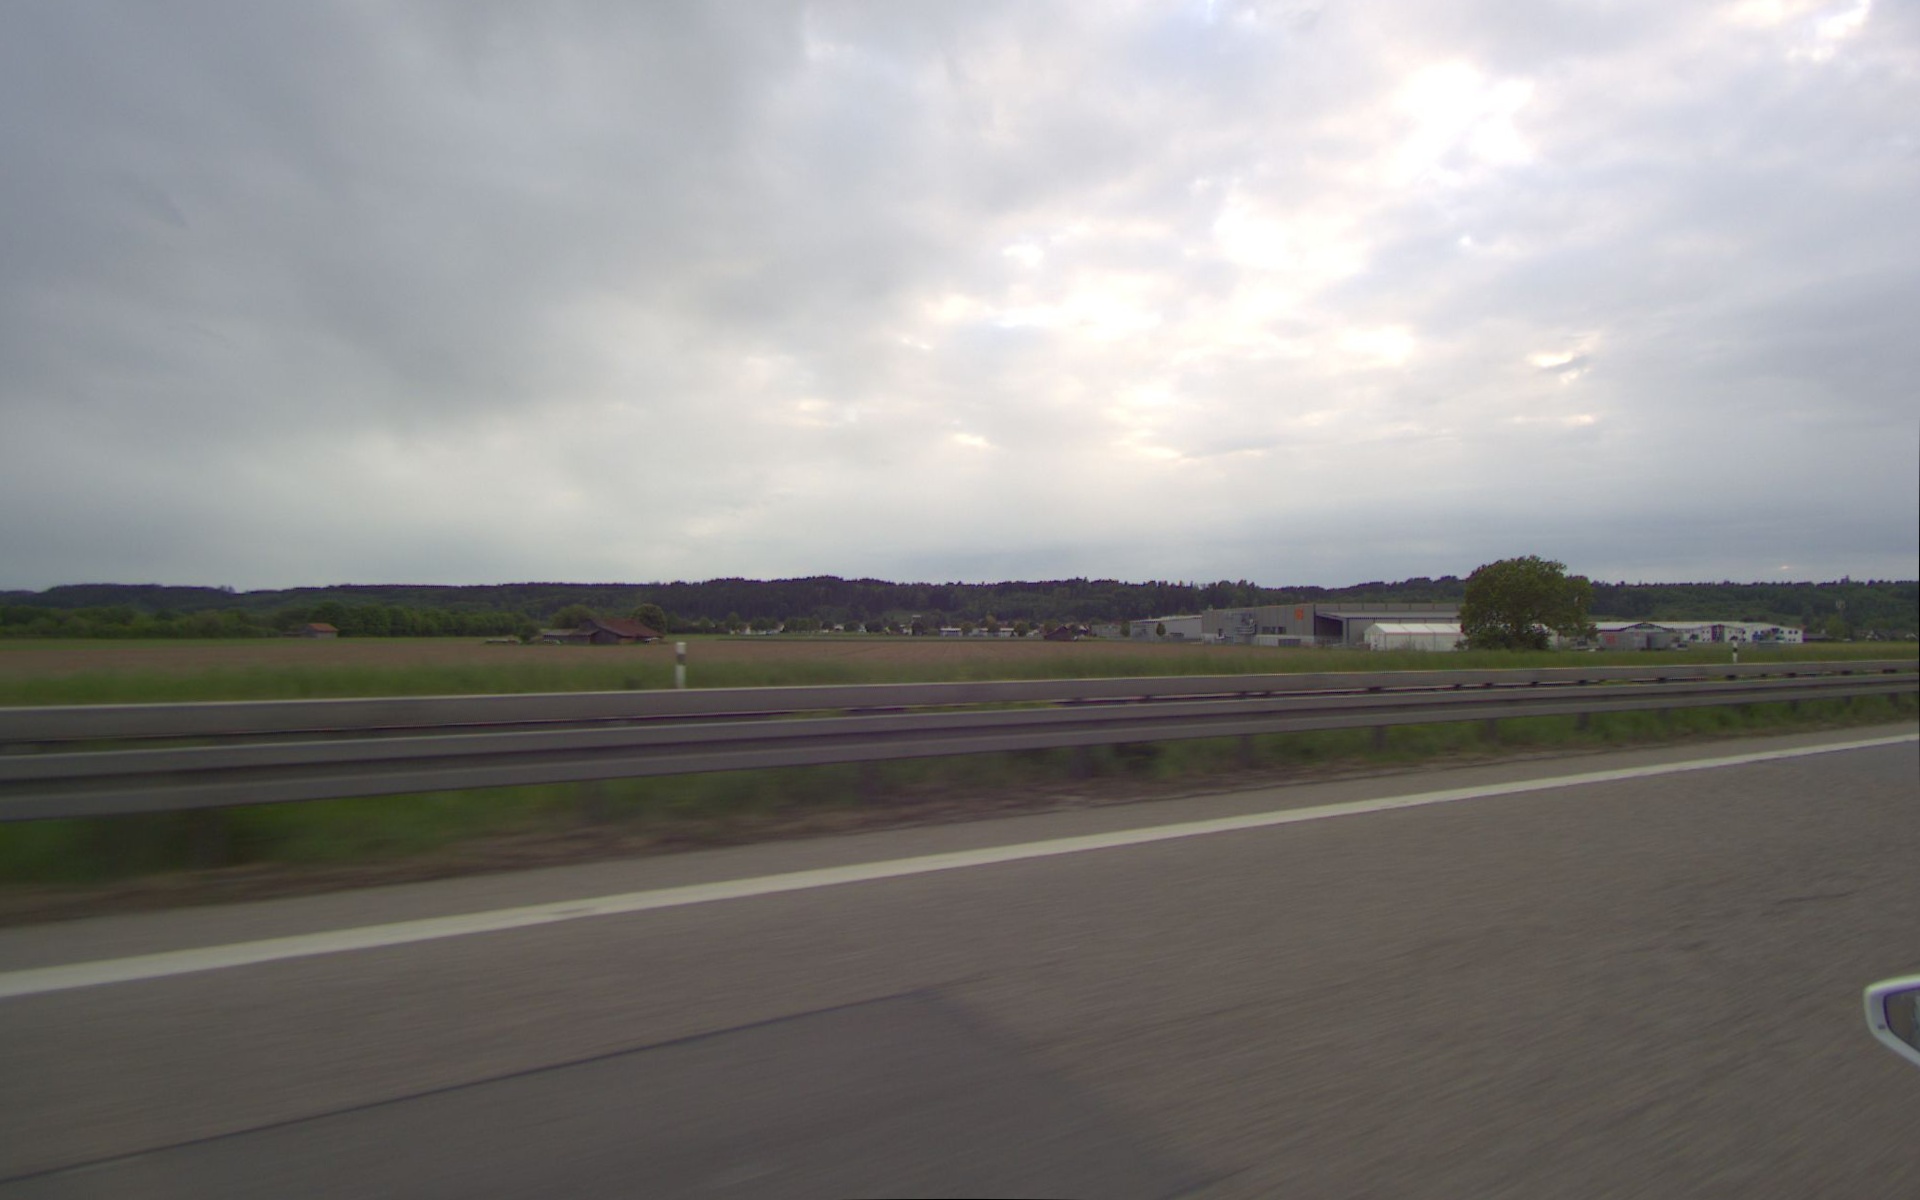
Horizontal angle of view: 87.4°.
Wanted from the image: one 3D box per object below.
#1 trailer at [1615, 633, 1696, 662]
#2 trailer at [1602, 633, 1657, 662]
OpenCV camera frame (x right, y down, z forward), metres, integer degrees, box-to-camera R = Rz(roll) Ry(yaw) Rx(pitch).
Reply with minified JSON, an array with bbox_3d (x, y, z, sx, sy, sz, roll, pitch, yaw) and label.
[{"bbox_3d":[131.645,9.082,190.681,3.499,5.202,17.041,1,-3,0],"label":"trailer"},{"bbox_3d":[127.344,9.130,191.285,3.680,5.328,10.086,1,-3,0],"label":"trailer"}]
